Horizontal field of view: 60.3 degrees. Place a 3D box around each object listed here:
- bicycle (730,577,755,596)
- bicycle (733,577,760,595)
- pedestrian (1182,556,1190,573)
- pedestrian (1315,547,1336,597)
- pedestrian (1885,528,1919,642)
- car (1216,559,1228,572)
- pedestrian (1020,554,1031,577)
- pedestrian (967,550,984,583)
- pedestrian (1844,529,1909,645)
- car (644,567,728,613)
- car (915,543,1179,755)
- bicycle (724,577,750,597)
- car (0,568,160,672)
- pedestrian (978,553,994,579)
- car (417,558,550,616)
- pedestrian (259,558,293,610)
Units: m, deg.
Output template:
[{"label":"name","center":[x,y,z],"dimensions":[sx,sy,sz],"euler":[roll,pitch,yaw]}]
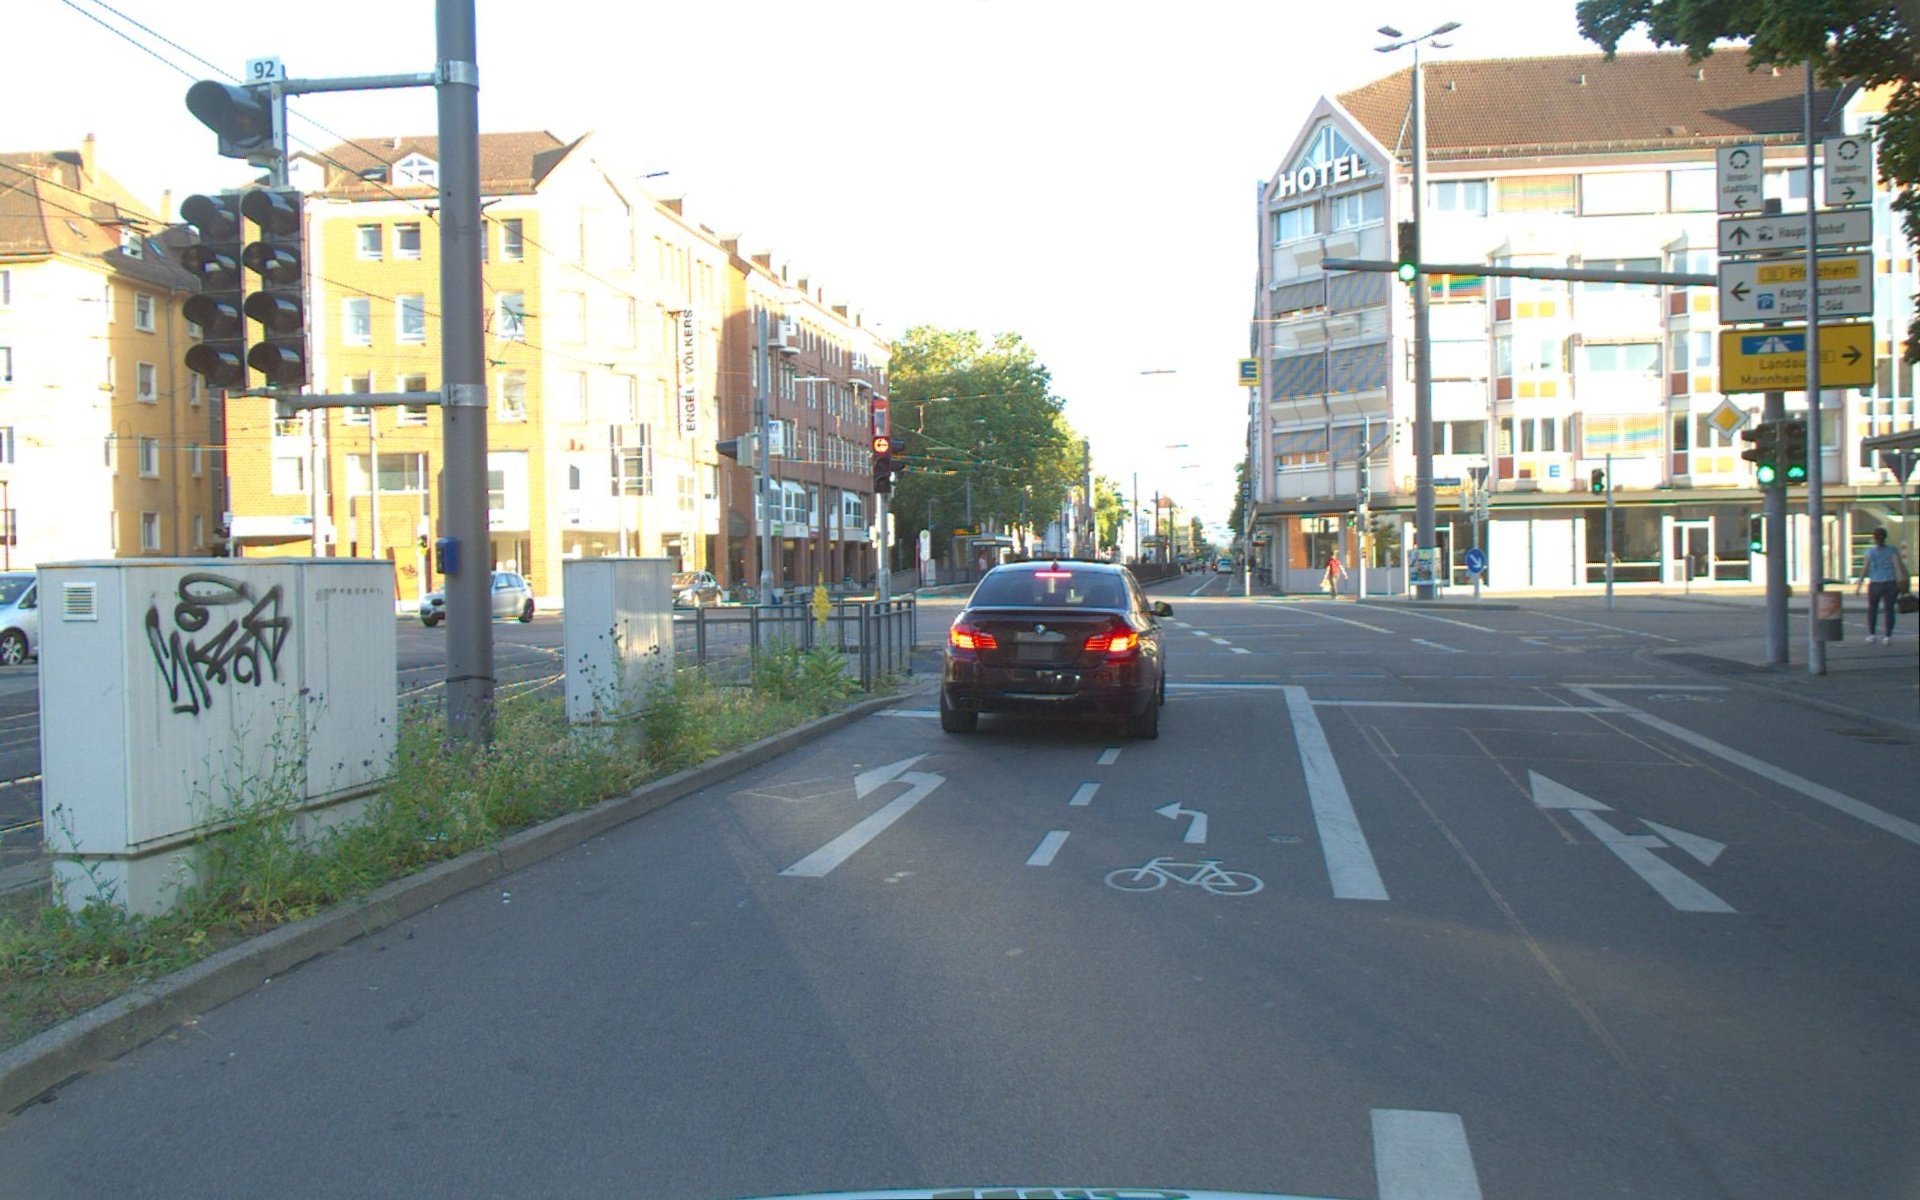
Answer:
[{"label":"bicycle","center":[-11.019,-0.667,83.894],"dimensions":[1.261,0.938,0.349],"euler":[1,2,-7]},{"label":"bicycle","center":[-11.032,-0.724,85.459],"dimensions":[1.386,0.938,0.443],"euler":[1,2,-7]},{"label":"pedestrian","center":[27.051,-4.233,198.047],"dimensions":[0.895,2.048,0.888],"euler":[-1,1,8]},{"label":"pedestrian","center":[13.896,-1.054,62.871],"dimensions":[0.670,1.886,0.671],"euler":[-1,1,6]},{"label":"pedestrian","center":[14.422,-0.237,24.877],"dimensions":[0.707,1.696,0.672],"euler":[-1,1,13]},{"label":"car","center":[31.879,-4.225,201.225],"dimensions":[1.441,1.541,3.099],"euler":[-1,2,8]},{"label":"pedestrian","center":[5.118,-2.691,128.770],"dimensions":[0.708,1.710,0.992],"euler":[-1,1,11]},{"label":"pedestrian","center":[0.947,-2.109,104.084],"dimensions":[0.967,2.048,0.726],"euler":[1,1,8]},{"label":"pedestrian","center":[13.640,-0.198,24.622],"dimensions":[0.670,1.696,0.672],"euler":[-1,1,13]},{"label":"car","center":[-10.491,-0.413,63.589],"dimensions":[1.951,1.612,4.483],"euler":[-1,2,7]},{"label":"car","center":[0.932,0.314,15.002],"dimensions":[1.951,1.612,4.004],"euler":[1,2,9]},{"label":"bicycle","center":[-11.229,-0.654,83.382],"dimensions":[1.258,0.938,0.349],"euler":[1,2,6]},{"label":"car","center":[-15.851,0.309,28.004],"dimensions":[1.951,1.612,4.117],"euler":[-1,2,14]},{"label":"pedestrian","center":[1.737,-2.270,109.372],"dimensions":[0.967,1.710,0.726],"euler":[-1,1,8]},{"label":"car","center":[-12.930,-0.385,45.177],"dimensions":[1.633,1.473,4.206],"euler":[-1,2,13]},{"label":"pedestrian","center":[-25.729,-0.602,62.241],"dimensions":[0.921,1.900,0.839],"euler":[1,2,0]}]
